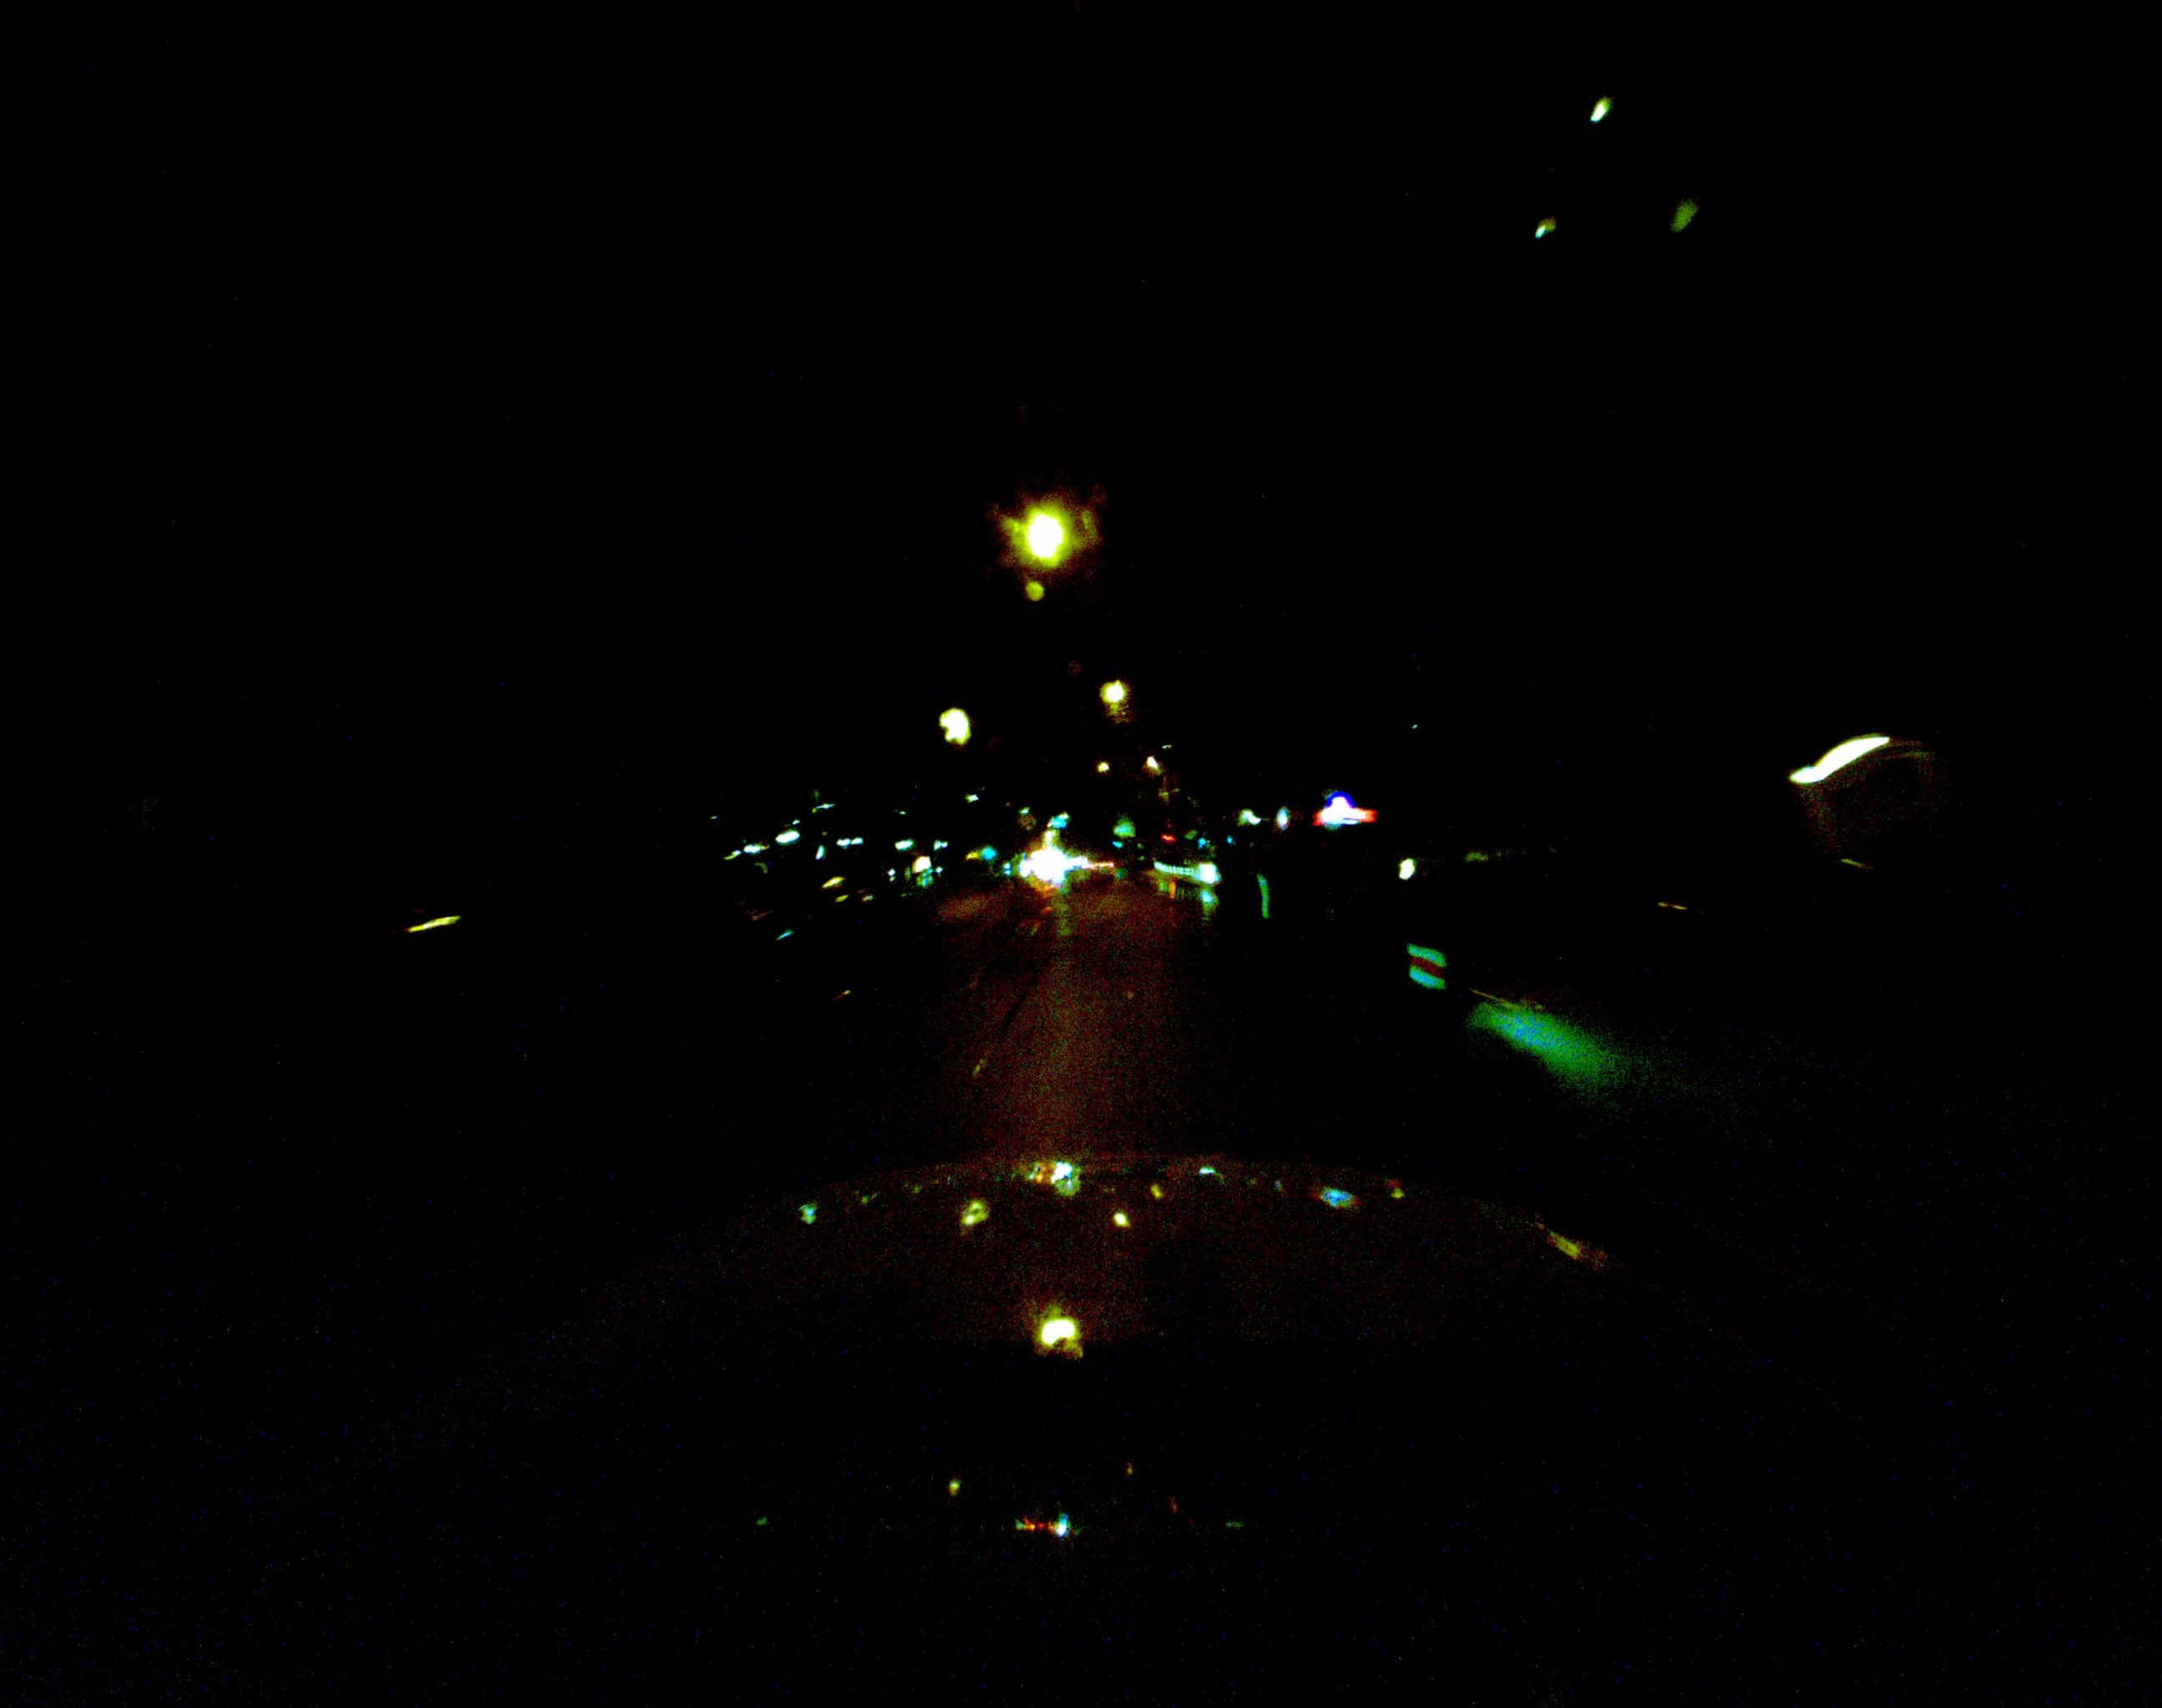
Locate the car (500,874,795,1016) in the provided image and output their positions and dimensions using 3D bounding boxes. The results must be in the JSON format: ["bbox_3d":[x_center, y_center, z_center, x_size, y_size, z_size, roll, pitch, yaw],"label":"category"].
[{"bbox_3d":[-5.767,1.110,11.568,1.592,1.373,4.356,-6,0,2],"label":"car"}]

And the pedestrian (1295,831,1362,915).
[{"bbox_3d":[4.860,0.368,16.088,1.044,1.575,1.020,-2,0,6],"label":"pedestrian"}]

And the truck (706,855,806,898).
[{"bbox_3d":[-17.913,1.178,45.211,2.105,2.013,5.289,-3,1,19],"label":"truck"}]

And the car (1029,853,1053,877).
[{"bbox_3d":[-3.670,1.018,75.775,2.029,1.953,5.196,-5,1,-2],"label":"car"}]

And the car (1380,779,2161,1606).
[{"bbox_3d":[2.889,0.569,2.993,1.816,1.530,4.784,-4,0,1],"label":"car"}]

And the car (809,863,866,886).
[{"bbox_3d":[-16.893,1.399,56.645,1.699,1.431,3.939,-3,0,21],"label":"car"}]

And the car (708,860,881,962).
[{"bbox_3d":[-5.447,0.992,16.145,1.592,1.564,4.382,-6,0,2],"label":"car"}]

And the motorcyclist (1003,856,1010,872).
[{"bbox_3d":[-10.104,1.366,110.257,0.690,2.013,0.983,-3,0,3],"label":"motorcyclist"}]

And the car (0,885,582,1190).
[{"bbox_3d":[-5.972,1.081,6.212,1.592,1.373,4.069,-6,0,2],"label":"car"}]

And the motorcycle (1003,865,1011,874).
[{"bbox_3d":[-10.054,2.059,110.375,0.698,1.138,2.177,-3,0,3],"label":"motorcycle"}]

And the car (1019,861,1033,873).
[{"bbox_3d":[-7.610,1.758,112.501,1.849,1.499,4.762,-3,1,-5],"label":"car"}]

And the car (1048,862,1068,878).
[{"bbox_3d":[-2.473,1.695,85.654,1.815,1.542,4.718,-3,0,-4],"label":"car"}]

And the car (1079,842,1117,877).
[{"bbox_3d":[1.039,0.354,51.378,2.161,1.972,4.301,-4,0,0],"label":"car"}]
